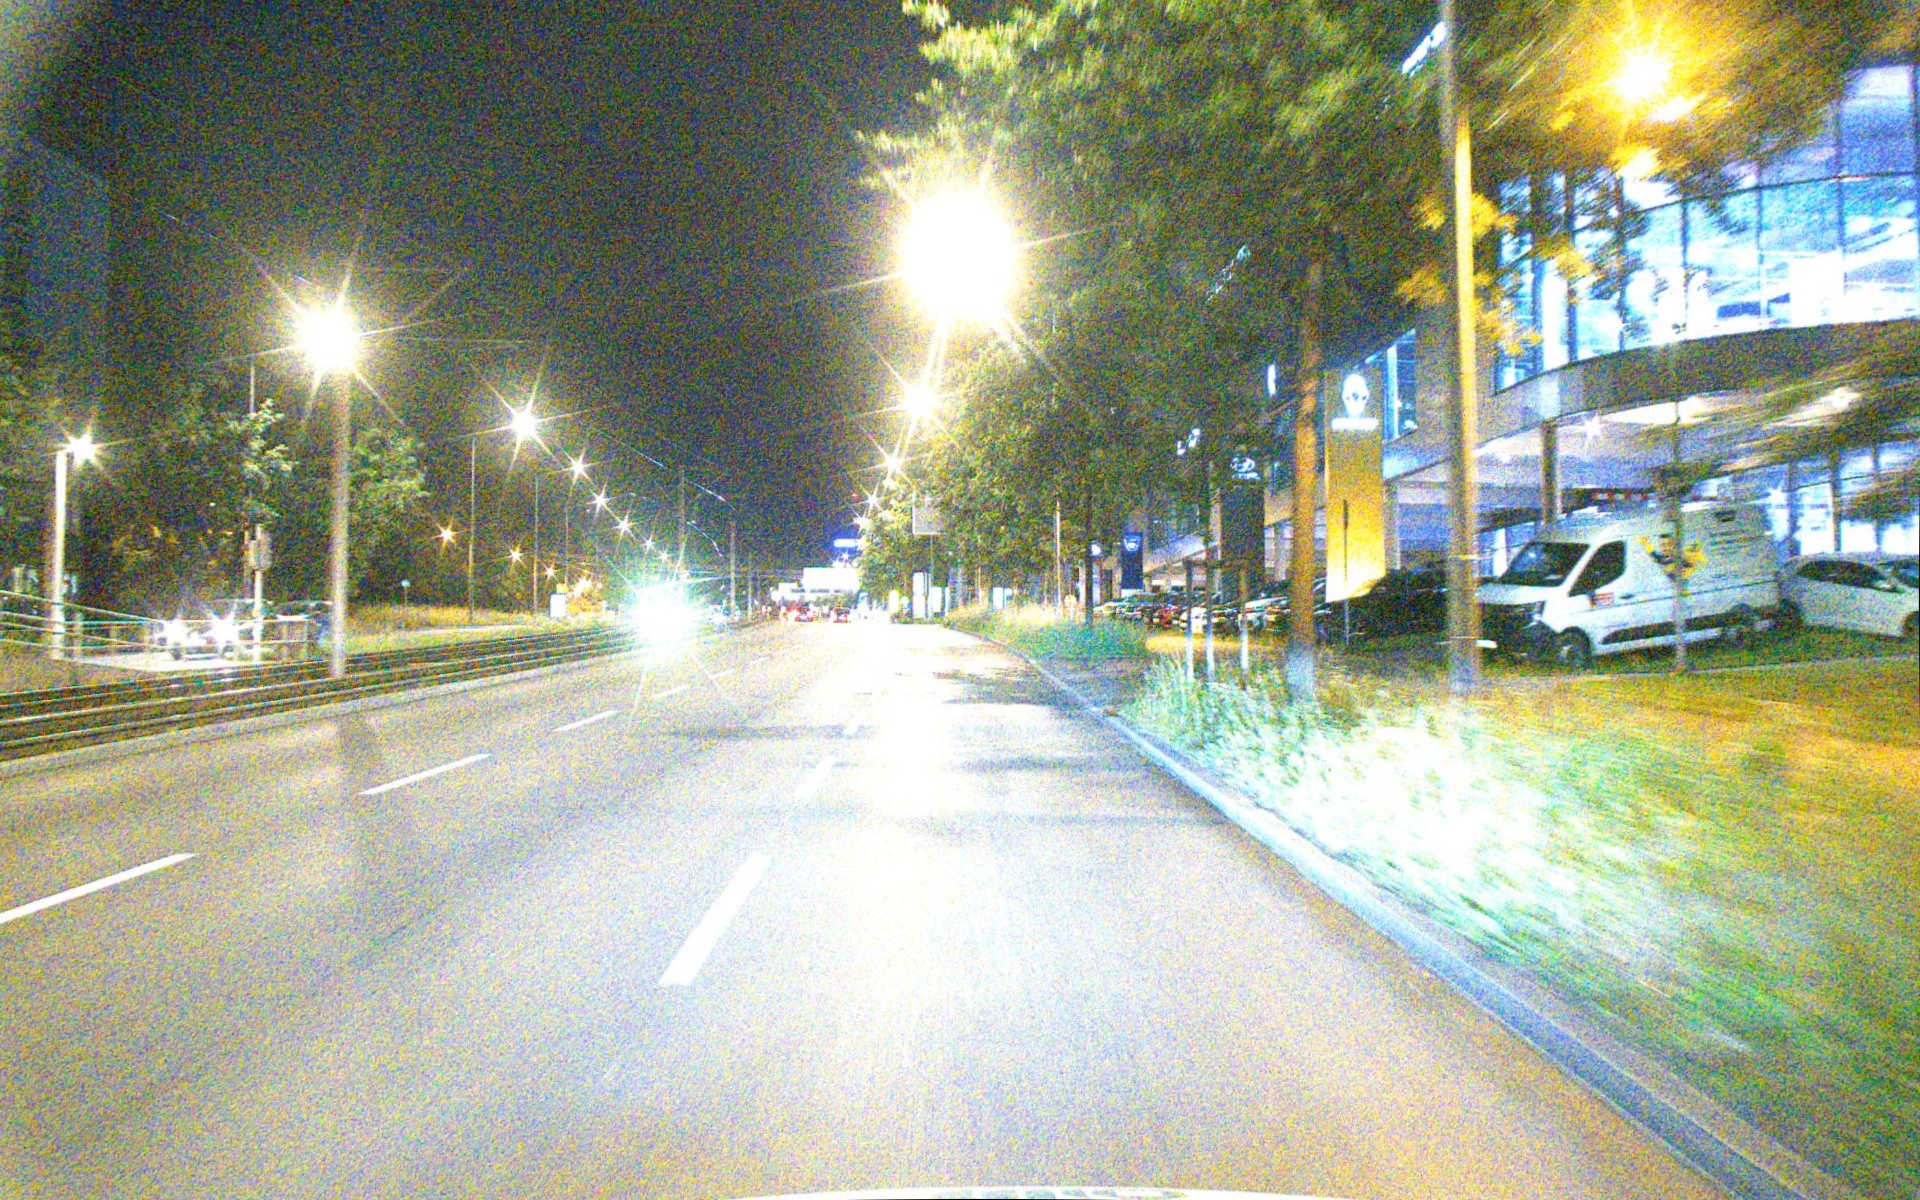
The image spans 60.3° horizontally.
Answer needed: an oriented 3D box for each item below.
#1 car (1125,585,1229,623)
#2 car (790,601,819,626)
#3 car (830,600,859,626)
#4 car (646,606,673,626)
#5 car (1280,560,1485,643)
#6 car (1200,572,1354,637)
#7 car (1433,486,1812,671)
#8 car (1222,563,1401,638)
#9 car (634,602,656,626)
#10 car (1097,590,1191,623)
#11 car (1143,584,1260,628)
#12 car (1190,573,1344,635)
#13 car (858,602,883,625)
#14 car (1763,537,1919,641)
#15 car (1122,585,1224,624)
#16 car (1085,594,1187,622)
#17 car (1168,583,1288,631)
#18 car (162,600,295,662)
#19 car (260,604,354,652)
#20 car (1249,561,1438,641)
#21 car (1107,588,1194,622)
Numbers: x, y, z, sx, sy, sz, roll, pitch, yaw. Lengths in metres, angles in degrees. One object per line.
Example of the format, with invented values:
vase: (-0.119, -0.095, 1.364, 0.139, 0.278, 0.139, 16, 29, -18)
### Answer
car: (8.984, 0.159, 68.401, 3.936, 1.416, 1.812, -2, 1, -25)
car: (-13.330, 1.152, 142.376, 2.217, 2.049, 4.823, 0, -1, -3)
car: (-9.888, 1.091, 141.855, 2.309, 2.166, 4.823, 0, -1, -3)
car: (-26.955, 1.442, 148.309, 1.744, 1.743, 4.225, 0, -1, -2)
car: (9.768, 0.023, 38.339, 4.130, 1.692, 1.954, -3, 0, -13)
car: (9.349, 0.118, 48.938, 4.011, 1.596, 1.849, -4, 1, -13)
car: (11.440, -0.404, 28.576, 5.928, 2.572, 2.271, -5, 1, -19)
car: (9.786, 0.003, 46.179, 4.385, 1.716, 1.993, -5, 1, -13)
car: (-38.156, 1.721, 200.185, 2.110, 2.718, 6.935, -2, -1, -14)
car: (8.485, 0.294, 76.484, 3.928, 1.448, 1.898, 0, 1, -20)
car: (9.163, 0.233, 62.836, 3.962, 1.397, 1.816, -4, 1, -19)
car: (9.715, 0.123, 52.379, 4.383, 1.574, 1.765, -5, 0, -12)
car: (-8.707, 1.328, 161.443, 2.379, 2.150, 4.823, 1, -1, -3)
car: (16.404, -0.203, 28.983, 1.782, 1.742, 3.937, -2, 0, -24)
car: (9.121, 0.178, 70.888, 3.931, 1.495, 1.821, -2, 0, -22)
car: (8.450, 0.376, 79.205, 4.574, 1.286, 1.930, 0, 1, -27)
car: (9.330, 0.235, 57.648, 3.741, 1.478, 1.710, -3, 1, -16)
car: (-19.017, 0.824, 43.186, 1.749, 1.523, 4.172, 0, -1, -3)
car: (-21.988, 0.933, 55.845, 1.626, 1.543, 3.910, 0, -1, -1)
car: (10.049, 0.012, 43.457, 4.384, 1.841, 1.993, -3, 0, -13)
car: (8.498, 0.243, 73.755, 3.557, 1.459, 1.666, 1, -1, -26)
